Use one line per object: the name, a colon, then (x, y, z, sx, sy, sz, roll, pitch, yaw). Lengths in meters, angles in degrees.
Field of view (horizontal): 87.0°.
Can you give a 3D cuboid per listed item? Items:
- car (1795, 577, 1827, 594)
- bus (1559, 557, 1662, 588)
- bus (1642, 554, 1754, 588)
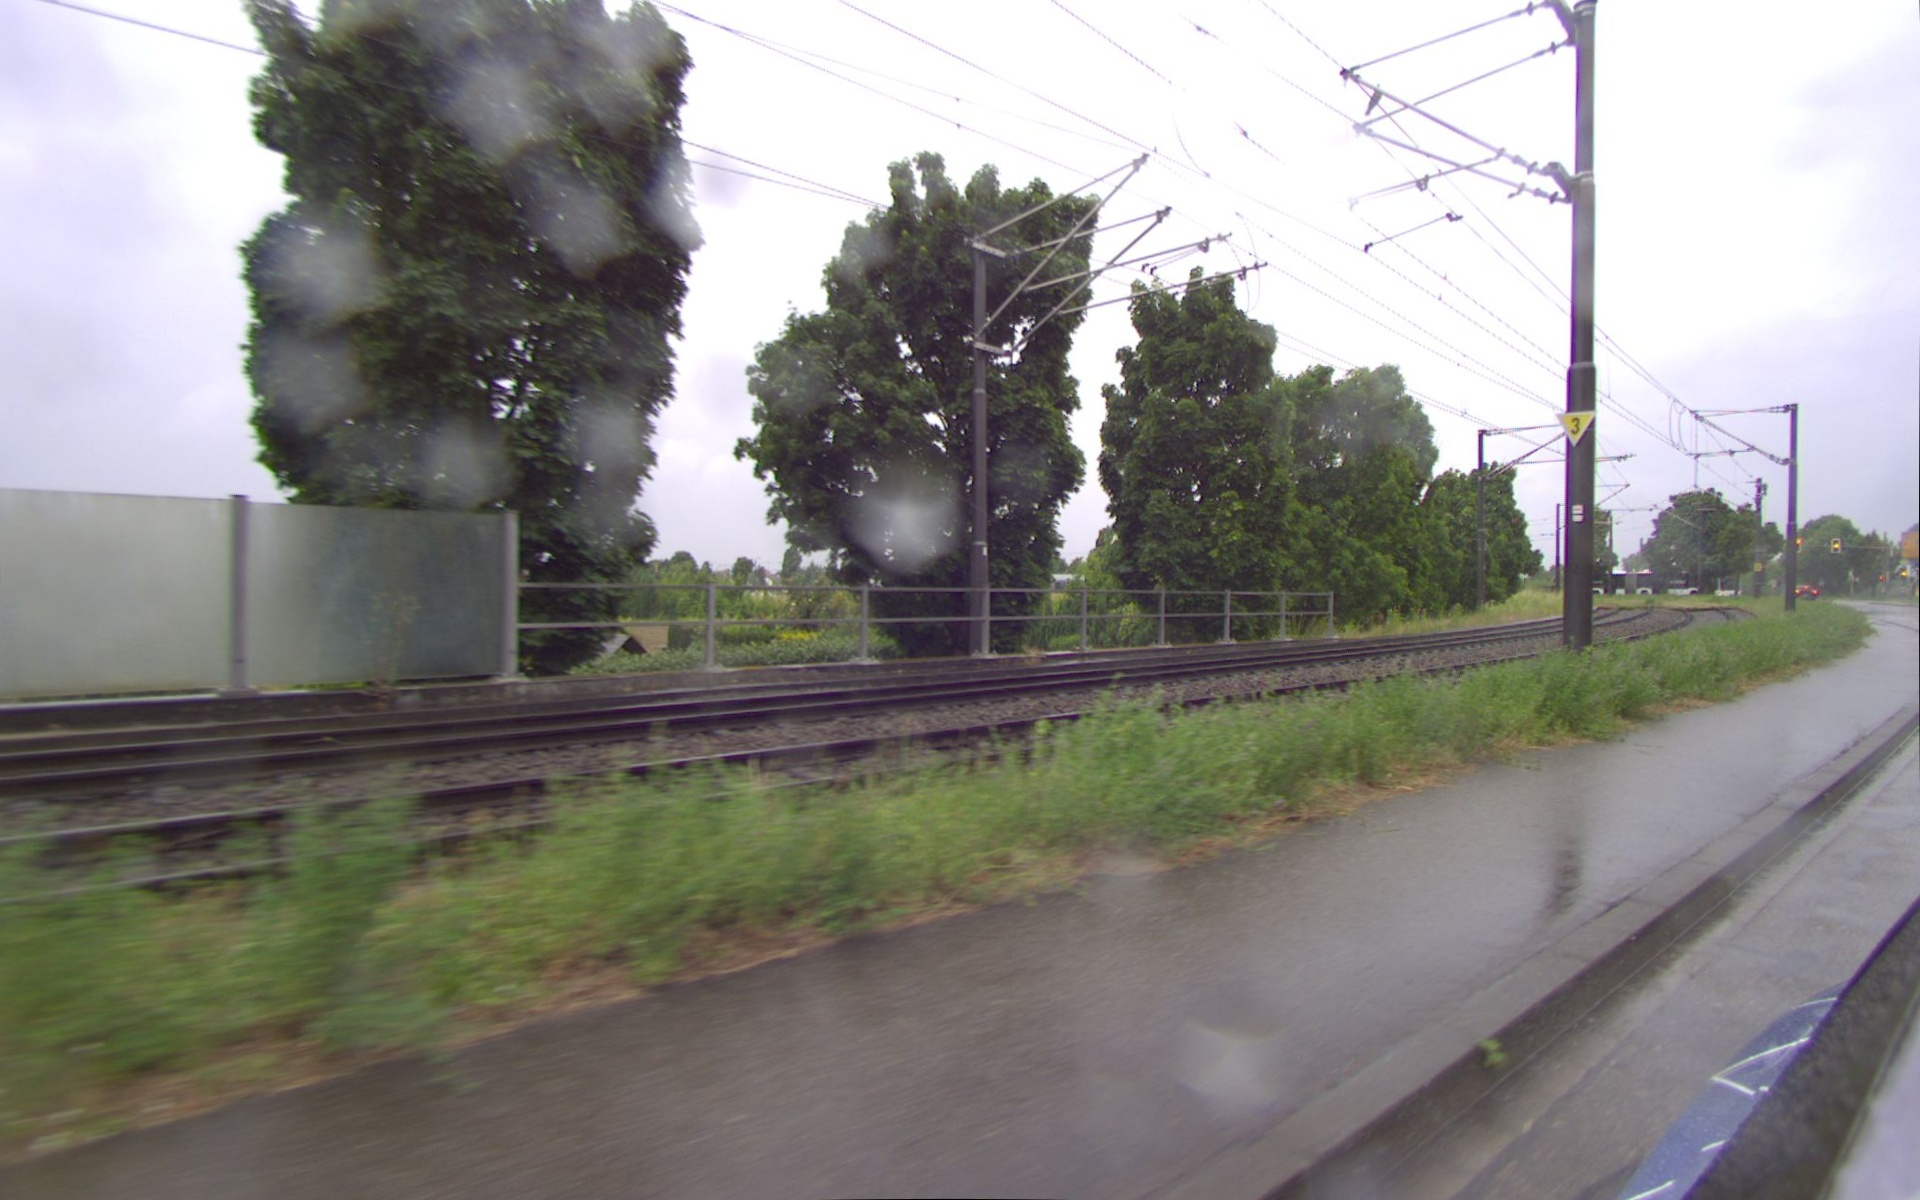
car: (80.629, -1.385, 95.948, 1.754, 1.556, 3.834, 1, 2, 31)
bus: (70.005, -2.903, 109.268, 2.622, 3.115, 10.016, -1, 1, -17)
bus: (72.151, -2.799, 99.298, 2.624, 3.115, 10.010, -1, 1, -8)
